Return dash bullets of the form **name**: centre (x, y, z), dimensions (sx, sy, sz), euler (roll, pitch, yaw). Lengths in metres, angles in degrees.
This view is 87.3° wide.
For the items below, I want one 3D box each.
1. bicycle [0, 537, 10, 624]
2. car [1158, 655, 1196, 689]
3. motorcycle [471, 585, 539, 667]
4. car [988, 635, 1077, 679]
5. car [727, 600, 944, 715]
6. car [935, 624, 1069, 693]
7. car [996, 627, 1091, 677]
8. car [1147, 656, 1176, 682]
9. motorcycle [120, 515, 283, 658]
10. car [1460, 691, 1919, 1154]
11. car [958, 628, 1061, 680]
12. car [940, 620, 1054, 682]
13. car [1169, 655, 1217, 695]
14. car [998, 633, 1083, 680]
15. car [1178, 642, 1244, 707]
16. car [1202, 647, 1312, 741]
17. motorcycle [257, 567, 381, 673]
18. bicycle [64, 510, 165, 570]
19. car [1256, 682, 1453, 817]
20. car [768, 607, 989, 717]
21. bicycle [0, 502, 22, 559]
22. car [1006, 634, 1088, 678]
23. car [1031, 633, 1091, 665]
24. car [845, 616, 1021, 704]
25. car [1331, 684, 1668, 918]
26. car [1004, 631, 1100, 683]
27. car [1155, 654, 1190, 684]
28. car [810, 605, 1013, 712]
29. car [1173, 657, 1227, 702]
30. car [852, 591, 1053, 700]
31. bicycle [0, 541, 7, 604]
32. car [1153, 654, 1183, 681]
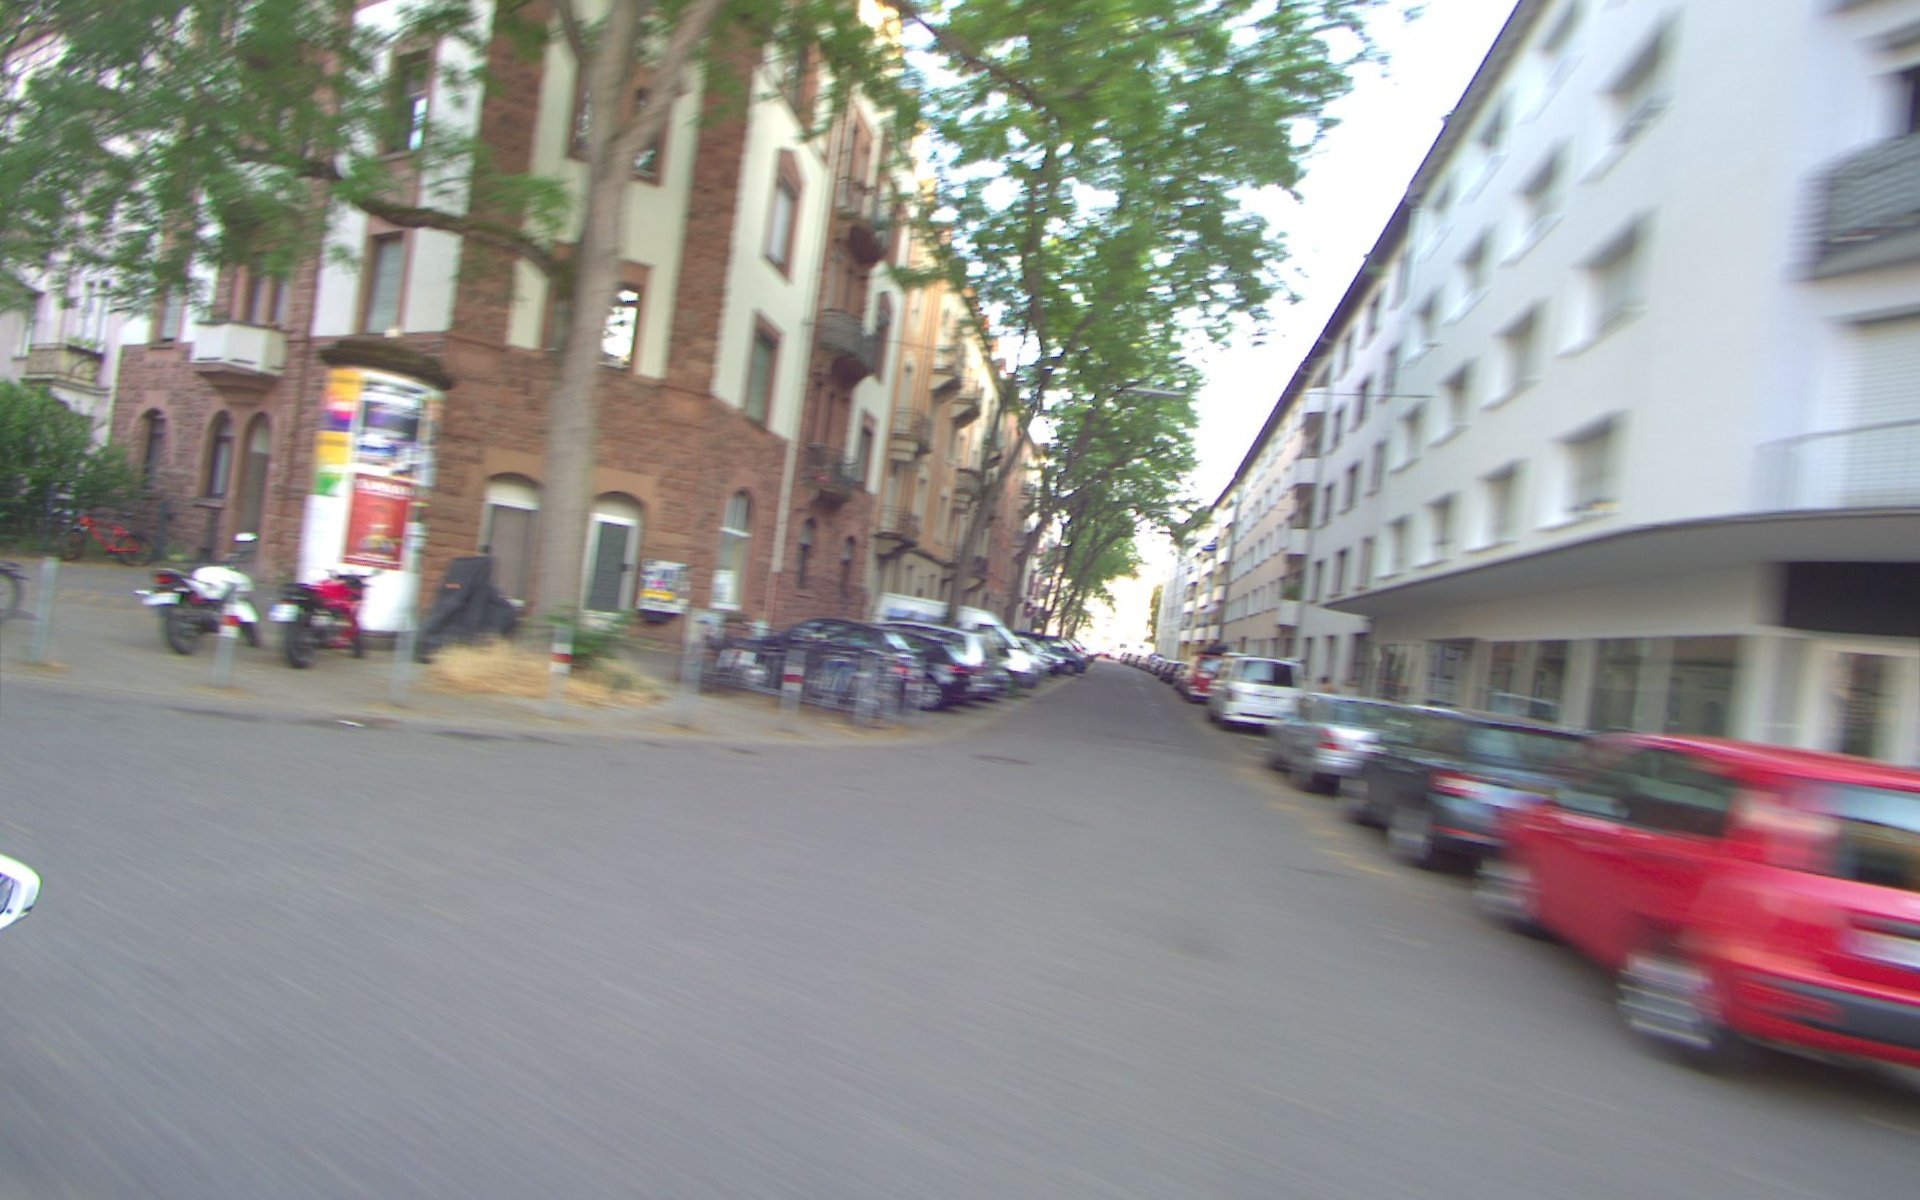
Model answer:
- **bicycle**: centre (-10.570, -0.205, 10.215), dimensions (0.324, 1.000, 1.227), euler (9, 1, 27)
- **car**: centre (13.534, 4.482, 62.860), dimensions (1.872, 1.764, 4.013), euler (7, -2, 9)
- **motorcycle**: centre (-6.894, 0.358, 15.323), dimensions (0.431, 1.092, 2.104), euler (8, 0, -14)
- **car**: centre (3.573, 2.764, 49.044), dimensions (3.924, 1.570, 2.002), euler (8, -1, 12)
- **car**: centre (-2.206, 1.030, 18.243), dimensions (3.368, 1.494, 1.683), euler (8, -1, 13)
- **car**: centre (1.435, 1.970, 34.079), dimensions (3.926, 1.726, 2.001), euler (8, -1, 21)
- **car**: centre (4.603, 2.847, 55.293), dimensions (4.846, 2.037, 2.002), euler (8, -1, 10)
- **car**: centre (16.419, 5.616, 82.137), dimensions (1.872, 1.764, 4.013), euler (7, -2, 9)
- **motorcycle**: centre (-8.683, -0.173, 11.635), dimensions (0.576, 1.425, 2.205), euler (8, 0, -15)
- **car**: centre (4.361, 1.531, 5.769), dimensions (1.595, 1.592, 3.481), euler (9, 0, 11)
- **car**: centre (2.157, 2.345, 43.739), dimensions (3.926, 1.689, 1.777), euler (8, -1, 21)
- **car**: centre (1.480, 2.037, 39.917), dimensions (3.926, 1.837, 2.001), euler (8, -1, 21)
- **car**: centre (11.879, 3.821, 51.580), dimensions (1.872, 1.764, 4.013), euler (7, -2, 9)
- **car**: centre (4.116, 2.859, 51.064), dimensions (3.924, 1.748, 2.002), euler (8, -1, 12)
- **car**: centre (9.957, 2.947, 40.166), dimensions (1.872, 2.225, 4.483), euler (7, -2, 9)
- **car**: centre (7.746, 2.423, 26.689), dimensions (1.872, 2.041, 4.483), euler (7, -2, 7)
- **motorcycle**: centre (-7.506, 0.187, 11.886), dimensions (0.431, 1.092, 2.206), euler (8, 0, -14)
- **bicycle**: centre (-17.664, -1.236, 21.050), dimensions (0.325, 1.046, 1.512), euler (9, 1, 28)
- **car**: centre (5.758, 2.109, 15.225), dimensions (1.625, 1.445, 4.241), euler (7, -2, 7)
- **car**: centre (-1.602, 1.230, 20.381), dimensions (3.924, 1.572, 1.828), euler (8, -1, 13)
- **bicycle**: centre (-18.689, -1.390, 18.853), dimensions (0.325, 1.046, 1.512), euler (9, 1, 28)
- **car**: centre (4.622, 2.954, 53.078), dimensions (3.924, 1.748, 1.886), euler (8, -1, 12)
- **car**: centre (7.494, 3.658, 74.620), dimensions (3.924, 1.810, 2.002), euler (8, -1, 15)
- **car**: centre (-0.622, 1.507, 25.158), dimensions (3.924, 1.535, 1.860), euler (8, -3, 11)
- **car**: centre (5.026, 1.757, 10.006), dimensions (1.595, 1.524, 3.903), euler (9, -2, 10)
- **car**: centre (4.250, 2.641, 46.475), dimensions (3.924, 1.770, 2.002), euler (8, -1, 16)
- **car**: centre (14.238, 4.631, 67.709), dimensions (1.872, 1.764, 4.013), euler (7, -2, 9)
- **car**: centre (-1.051, 1.291, 22.732), dimensions (4.064, 1.741, 1.778), euler (8, -1, 13)
- **car**: centre (11.002, 3.620, 46.357), dimensions (1.872, 1.764, 4.013), euler (7, -2, 9)
- **car**: centre (-0.163, 1.315, 29.663), dimensions (5.415, 2.330, 2.002), euler (8, -1, 10)
- **bicycle**: centre (-10.327, -0.161, 9.929), dimensions (0.325, 0.999, 1.226), euler (9, 1, 28)
- **car**: centre (16.053, 5.207, 77.765), dimensions (1.872, 1.764, 4.013), euler (7, -2, 9)
